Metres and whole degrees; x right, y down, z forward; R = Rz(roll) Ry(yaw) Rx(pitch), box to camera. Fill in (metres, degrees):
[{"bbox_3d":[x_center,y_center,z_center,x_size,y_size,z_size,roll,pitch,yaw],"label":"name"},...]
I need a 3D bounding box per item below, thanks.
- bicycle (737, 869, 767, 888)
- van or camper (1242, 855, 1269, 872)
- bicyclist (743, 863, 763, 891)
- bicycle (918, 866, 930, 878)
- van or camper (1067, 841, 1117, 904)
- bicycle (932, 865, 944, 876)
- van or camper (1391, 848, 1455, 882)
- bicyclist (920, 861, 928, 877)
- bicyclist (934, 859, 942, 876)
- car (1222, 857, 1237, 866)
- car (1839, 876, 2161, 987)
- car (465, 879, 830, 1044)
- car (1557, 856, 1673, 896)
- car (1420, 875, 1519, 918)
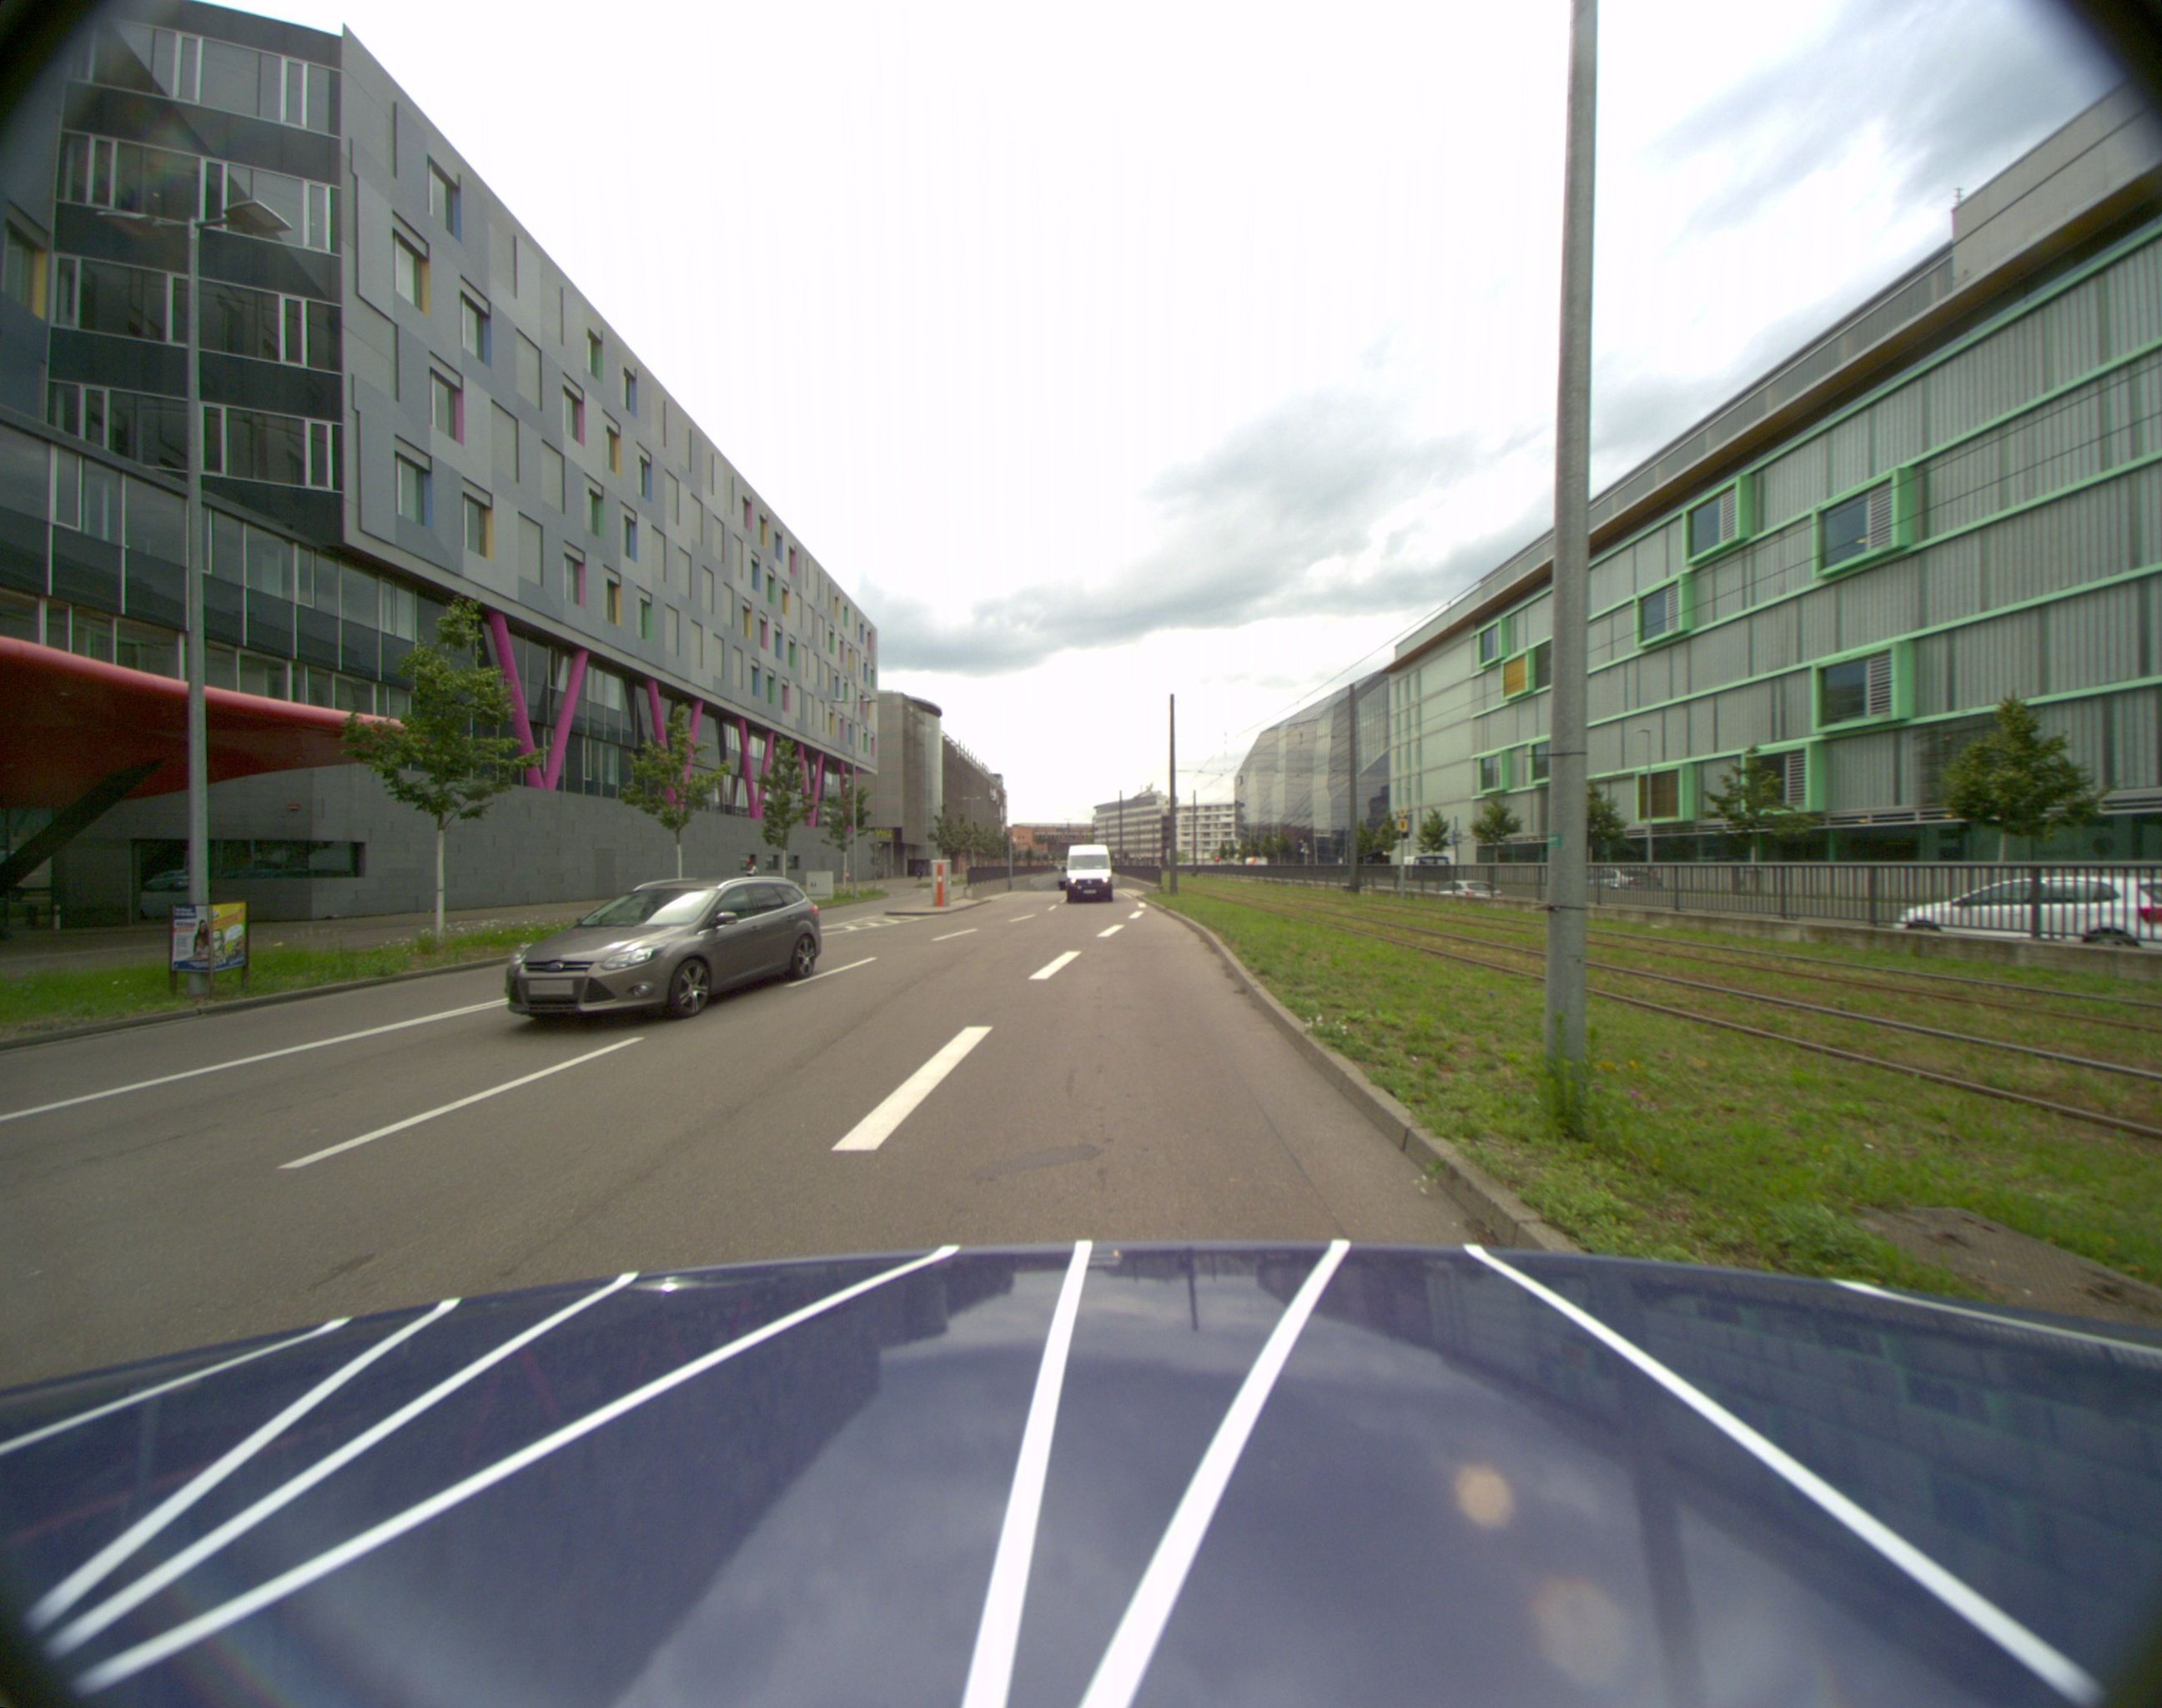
[{"bbox_3d":[-20.922,1.529,48.384,0.784,1.187,2.222,-1,-1,6],"label":"bicycle"},{"bbox_3d":[23.737,1.289,103.709,2.178,2.273,6.507,-2,-1,1],"label":"van or camper"},{"bbox_3d":[-20.912,1.458,48.478,0.772,1.776,0.975,-1,0,6],"label":"bicyclist"},{"bbox_3d":[-17.469,2.029,84.530,0.801,1.150,2.347,-2,-4,0],"label":"bicycle"},{"bbox_3d":[0.453,0.835,34.269,2.043,2.571,5.042,-1,-1,0],"label":"van or camper"},{"bbox_3d":[-16.037,1.846,85.237,0.801,1.151,2.345,-2,-1,0],"label":"bicycle"},{"bbox_3d":[24.432,0.784,54.555,2.178,2.273,5.359,-1,-1,1],"label":"van or camper"},{"bbox_3d":[-17.469,1.689,84.484,0.784,1.790,0.705,-2,-4,0],"label":"bicyclist"},{"bbox_3d":[-16.043,1.527,85.162,0.784,1.791,0.705,-2,-1,0],"label":"bicyclist"},{"bbox_3d":[27.048,1.396,138.818,1.998,1.582,4.769,-1,-2,3],"label":"car"},{"bbox_3d":[16.165,1.174,12.989,1.767,1.470,4.572,0,0,-1],"label":"car"},{"bbox_3d":[-4.843,1.100,9.339,1.751,1.490,4.271,-1,-1,5],"label":"car"},{"bbox_3d":[23.738,0.913,34.033,1.998,1.656,4.647,0,0,1],"label":"car"},{"bbox_3d":[16.319,1.735,32.183,1.998,1.576,4.380,-1,-1,1],"label":"car"}]
